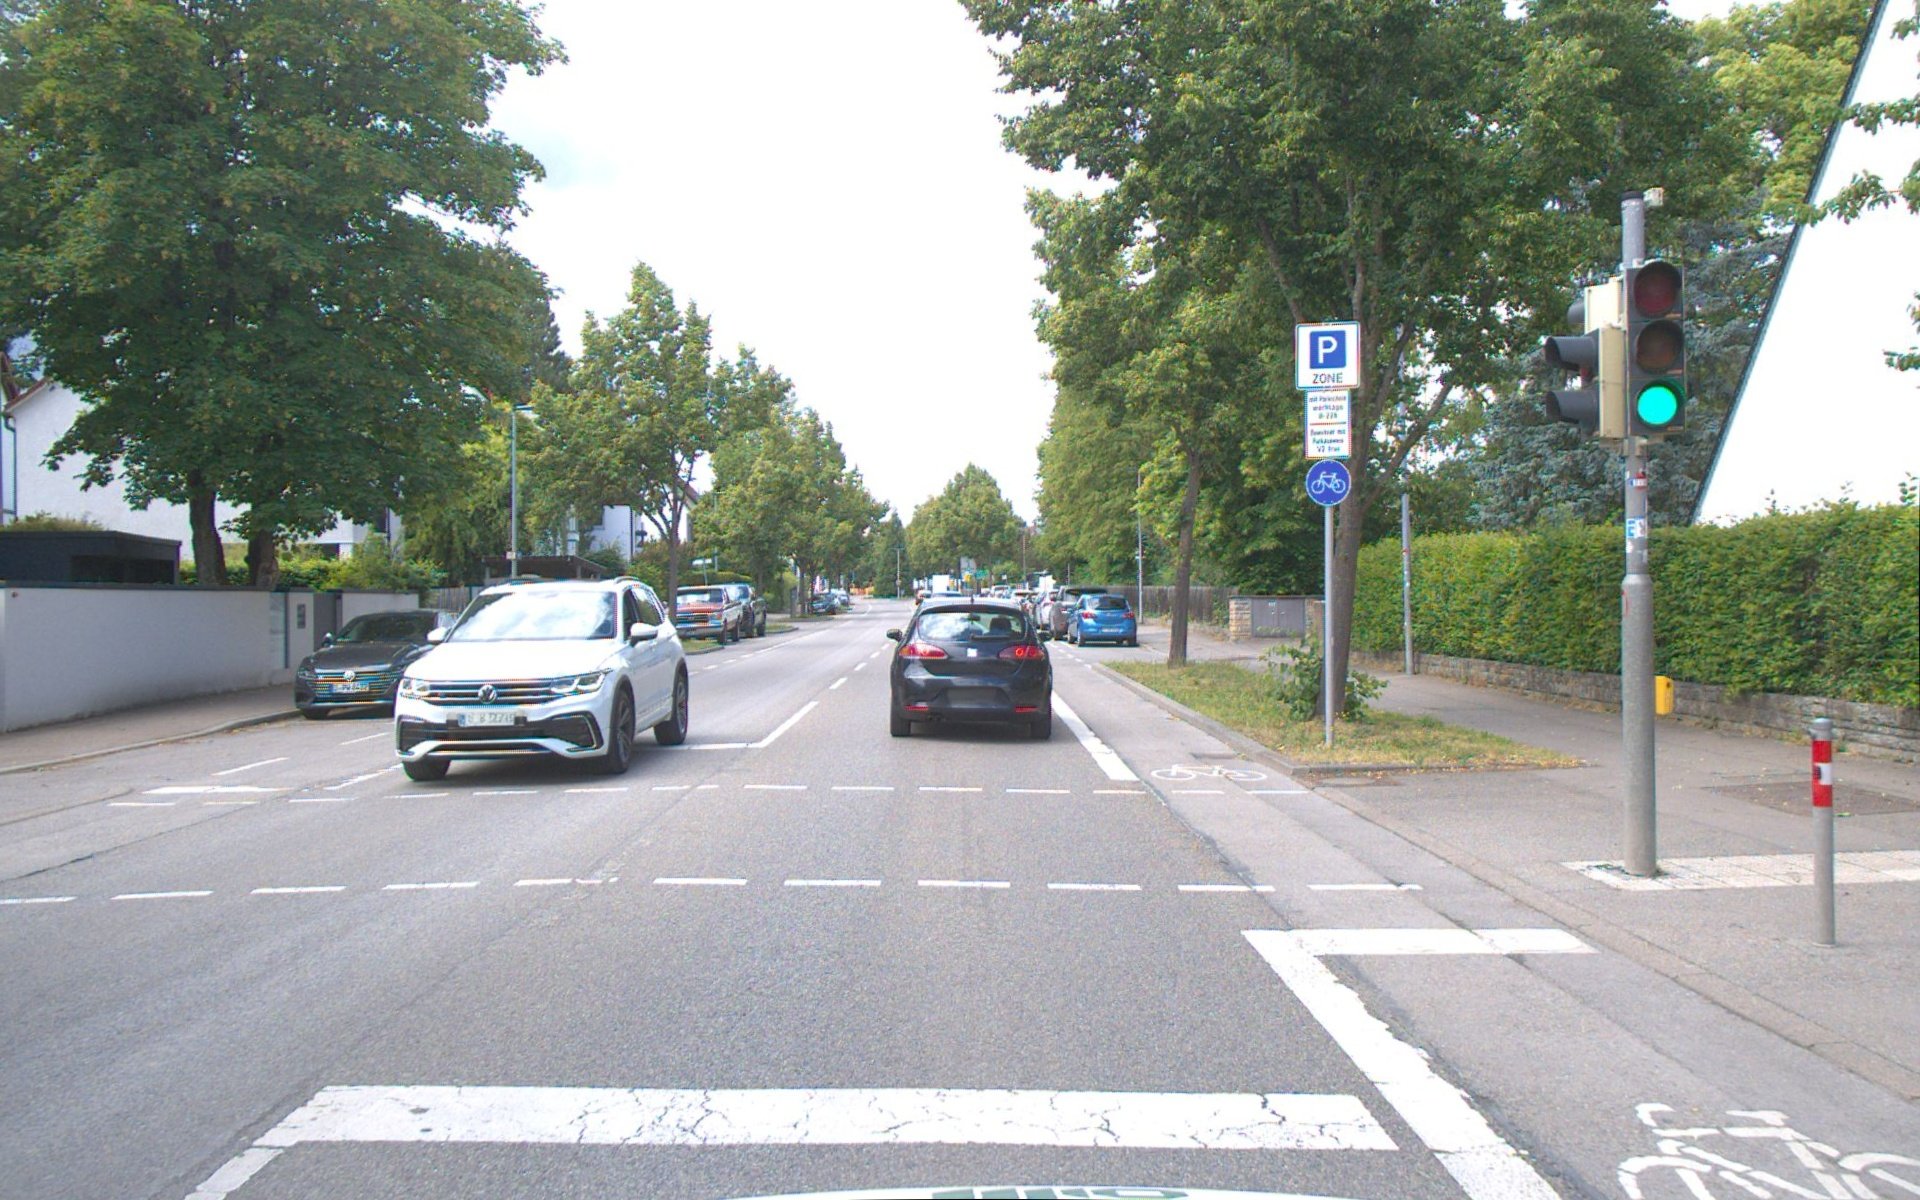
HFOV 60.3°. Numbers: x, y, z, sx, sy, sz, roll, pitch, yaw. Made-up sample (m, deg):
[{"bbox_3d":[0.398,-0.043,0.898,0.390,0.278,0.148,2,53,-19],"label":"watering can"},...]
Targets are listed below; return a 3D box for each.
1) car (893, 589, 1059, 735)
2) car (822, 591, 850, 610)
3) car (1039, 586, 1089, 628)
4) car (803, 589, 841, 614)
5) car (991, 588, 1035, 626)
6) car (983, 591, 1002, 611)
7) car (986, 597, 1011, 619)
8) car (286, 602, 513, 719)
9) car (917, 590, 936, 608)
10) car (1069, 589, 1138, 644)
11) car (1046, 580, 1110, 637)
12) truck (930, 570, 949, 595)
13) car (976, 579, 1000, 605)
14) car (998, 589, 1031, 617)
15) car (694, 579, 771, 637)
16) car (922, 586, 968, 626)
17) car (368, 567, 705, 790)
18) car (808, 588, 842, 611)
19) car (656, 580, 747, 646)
[{"bbox_3d":[0.090,0.620,18.417,1.629,1.426,3.810,1,0,-2],"label":"car"},{"bbox_3d":[-10.725,0.066,143.543,2.057,1.532,5.782,-2,0,-1],"label":"car"},{"bbox_3d":[4.107,0.262,65.835,1.654,1.591,4.213,0,0,-1],"label":"car"},{"bbox_3d":[-9.174,0.071,110.290,2.057,1.532,5.782,-2,0,-1],"label":"car"},{"bbox_3d":[2.277,0.288,71.682,1.654,1.591,4.213,0,0,-1],"label":"car"},{"bbox_3d":[3.213,0.078,164.008,1.654,1.908,4.213,0,0,-1],"label":"car"},{"bbox_3d":[2.814,0.551,120.678,1.654,1.591,4.213,0,0,-1],"label":"car"},{"bbox_3d":[-7.934,0.791,23.908,1.683,1.419,4.800,-2,0,-1],"label":"car"},{"bbox_3d":[-3.215,-0.097,159.313,1.843,1.718,4.213,0,0,-1],"label":"car"},{"bbox_3d":[4.123,0.457,47.892,1.654,1.516,3.354,0,0,-1],"label":"car"},{"bbox_3d":[3.748,0.250,53.056,1.654,1.741,4.213,0,0,-1],"label":"car"},{"bbox_3d":[-2.719,-2.283,218.971,2.233,3.158,8.507,2,0,-2],"label":"truck"},{"bbox_3d":[2.159,-0.613,127.429,1.654,1.908,4.213,0,0,-1],"label":"car"},{"bbox_3d":[3.153,0.166,96.214,1.654,1.591,4.213,0,0,-1],"label":"car"},{"bbox_3d":[-8.255,0.271,60.588,2.057,1.929,5.782,-2,0,-1],"label":"car"},{"bbox_3d":[-0.590,0.239,67.946,1.808,1.536,3.812,1,0,0],"label":"car"},{"bbox_3d":[-3.634,0.601,15.048,1.836,1.663,4.341,-2,0,1],"label":"car"},{"bbox_3d":[-10.011,-0.049,123.044,2.057,1.532,5.782,-2,0,-1],"label":"car"},{"bbox_3d":[-8.202,0.388,53.065,2.057,1.929,5.782,-2,0,-1],"label":"car"}]
